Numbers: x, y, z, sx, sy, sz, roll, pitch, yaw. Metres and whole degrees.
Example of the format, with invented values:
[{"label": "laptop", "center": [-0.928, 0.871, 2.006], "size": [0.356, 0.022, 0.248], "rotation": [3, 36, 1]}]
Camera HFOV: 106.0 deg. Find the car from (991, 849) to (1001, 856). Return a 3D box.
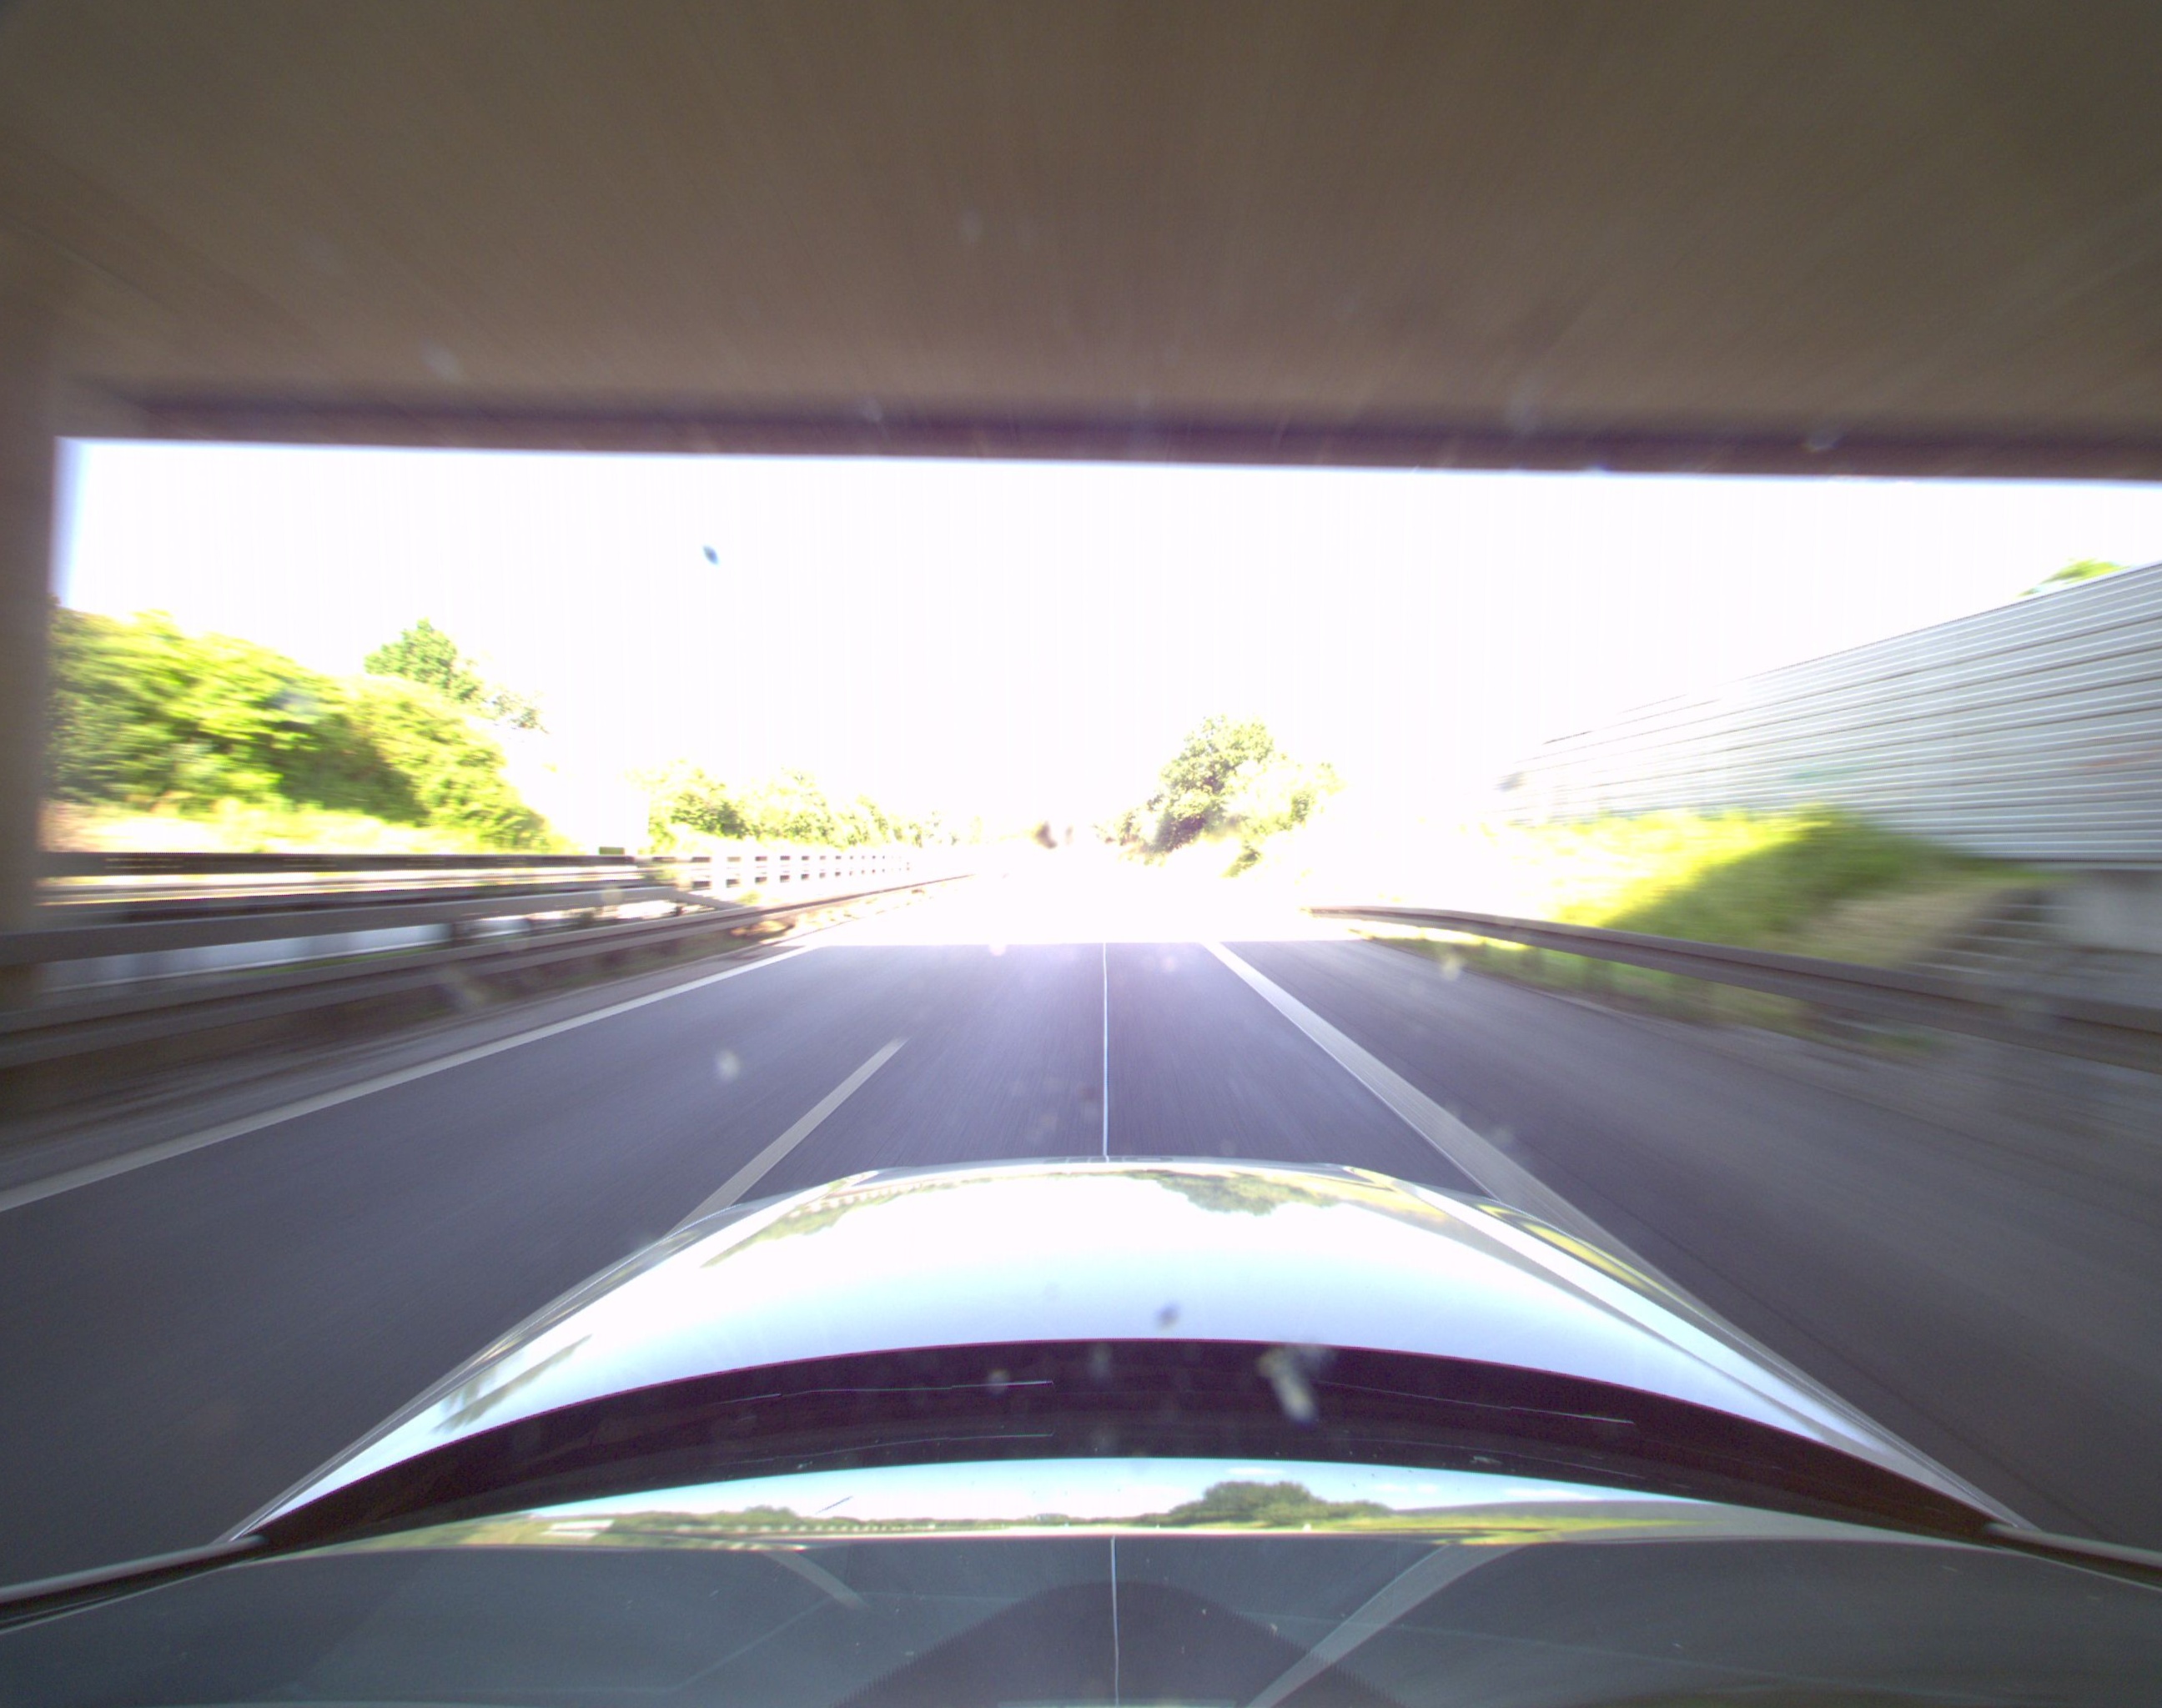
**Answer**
[{"label": "car", "center": [-22.353, -0.407, 214.541], "size": [2.064, 1.625, 3.982], "rotation": [0, -1, -13]}]
